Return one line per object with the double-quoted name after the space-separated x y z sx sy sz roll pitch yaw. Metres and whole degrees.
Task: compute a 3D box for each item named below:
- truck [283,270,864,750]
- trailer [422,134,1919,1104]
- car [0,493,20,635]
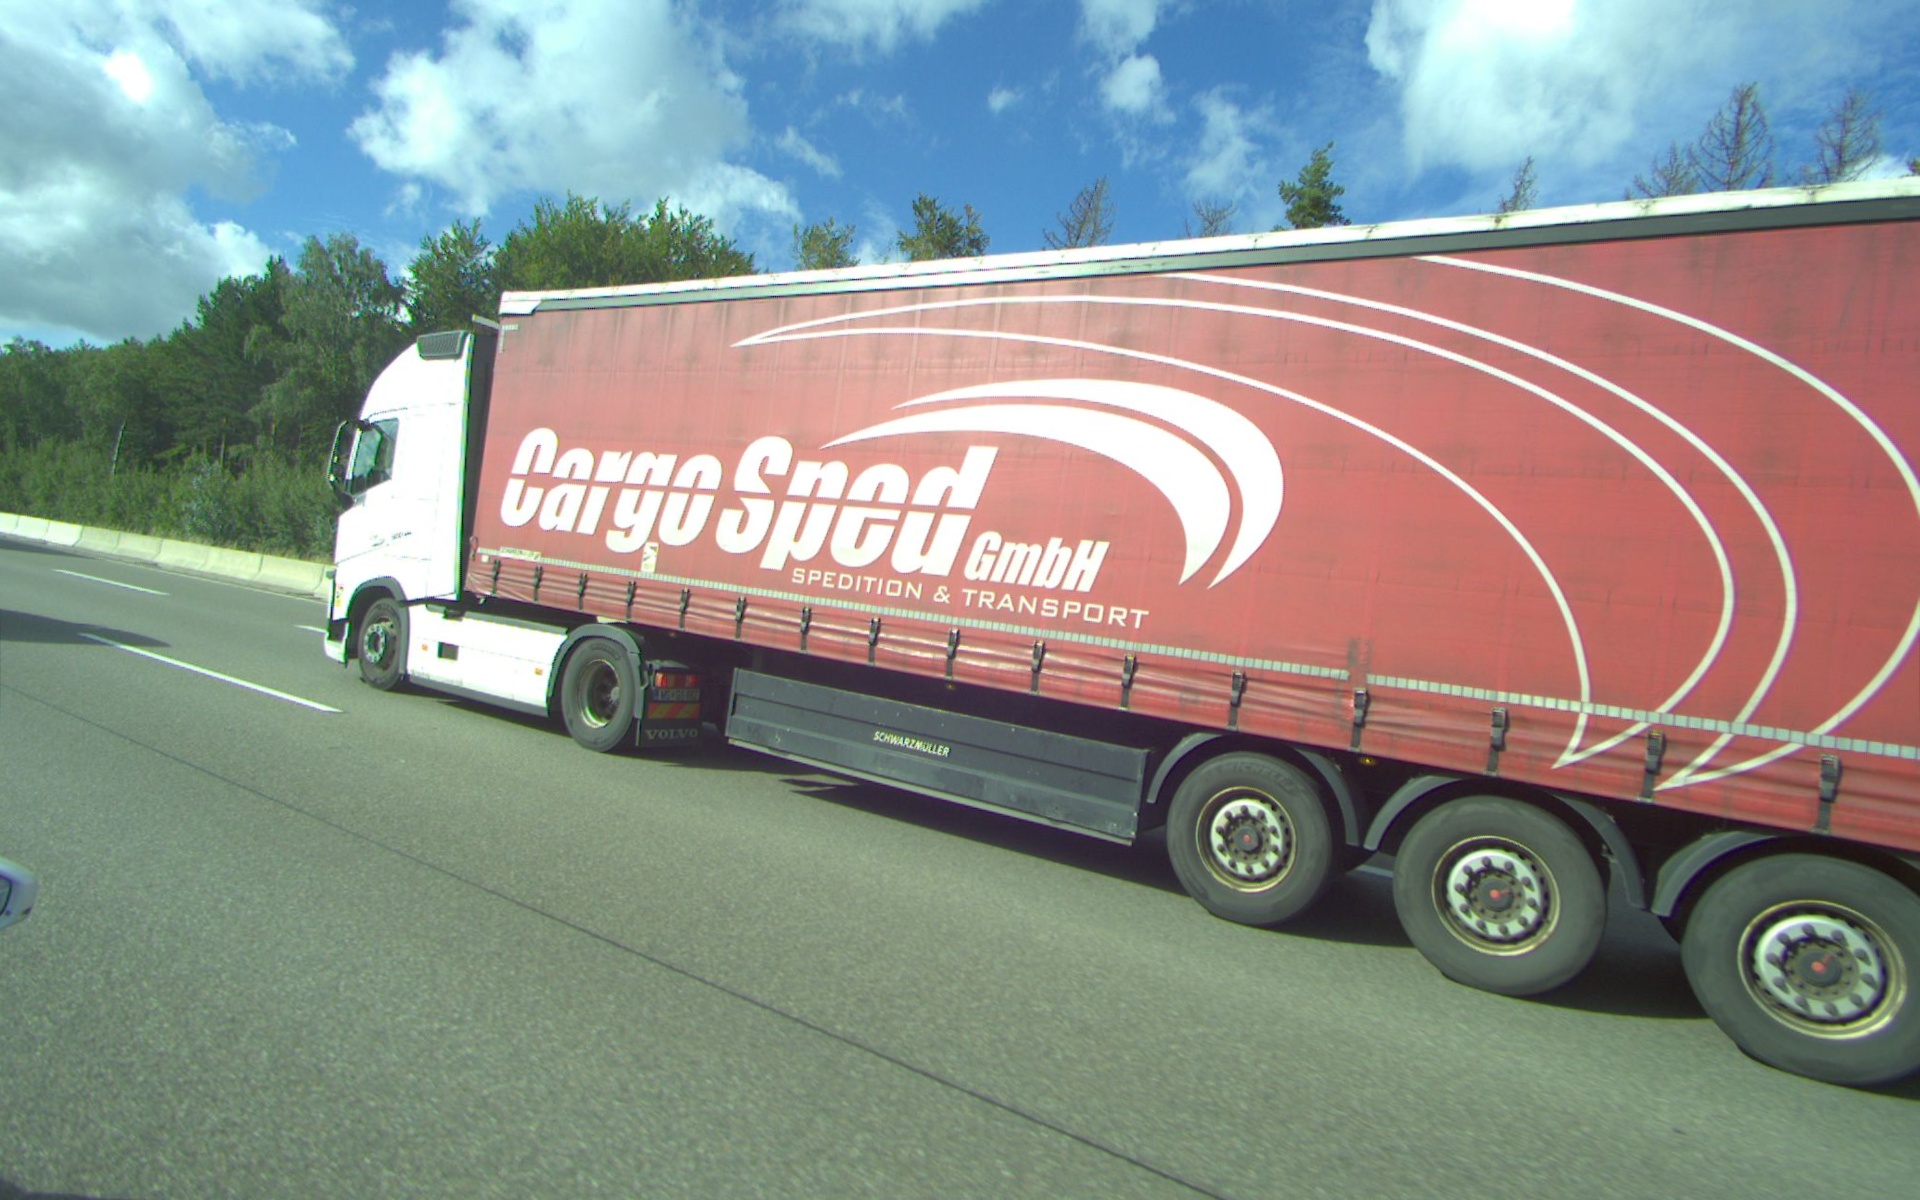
-4.389 -0.921 11.192 5.677 4.094 2.778 7 -1 32 "truck"
1.319 -0.255 7.599 13.486 4.094 2.778 7 -1 32 "trailer"
-12.768 -0.693 11.521 4.384 1.548 1.776 7 -1 32 "car"
